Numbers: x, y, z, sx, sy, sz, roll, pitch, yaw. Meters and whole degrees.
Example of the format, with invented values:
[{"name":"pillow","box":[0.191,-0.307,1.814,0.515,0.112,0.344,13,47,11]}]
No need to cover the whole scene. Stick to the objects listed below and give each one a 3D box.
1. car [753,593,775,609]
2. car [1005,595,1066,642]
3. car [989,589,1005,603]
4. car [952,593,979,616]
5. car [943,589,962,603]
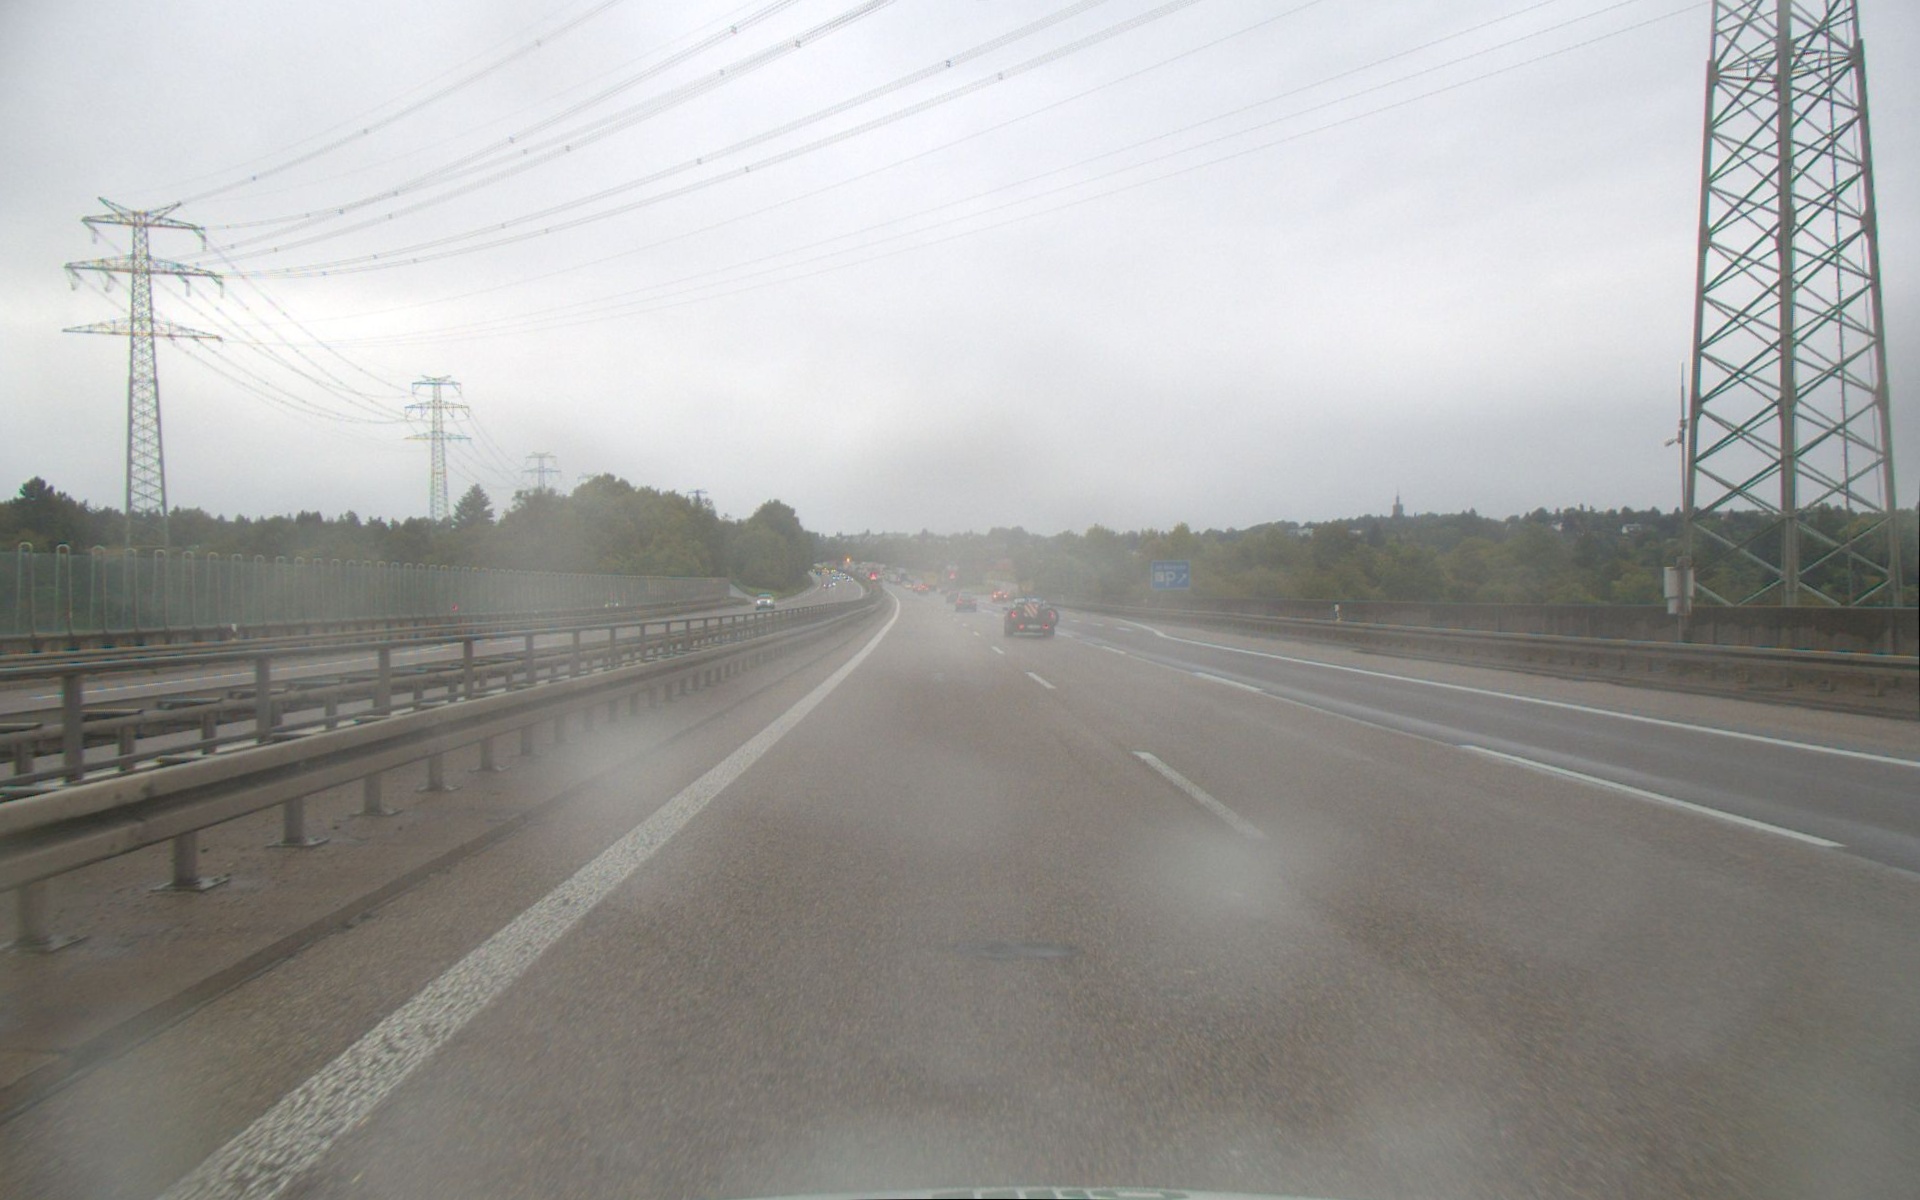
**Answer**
[{"name":"car","box":[-21.374,0.088,180.879,1.953,1.658,4.712,-1,0,-2]},{"name":"car","box":[2.874,0.684,64.041,2.016,1.700,5.521,0,0,-1]},{"name":"car","box":[4.760,-0.512,210.974,1.882,1.739,4.002,-1,1,2]},{"name":"car","box":[0.444,0.350,141.372,1.954,1.791,3.997,-1,1,-4]},{"name":"car","box":[-0.952,-0.483,198.399,1.954,1.657,3.997,-1,1,-4]}]
